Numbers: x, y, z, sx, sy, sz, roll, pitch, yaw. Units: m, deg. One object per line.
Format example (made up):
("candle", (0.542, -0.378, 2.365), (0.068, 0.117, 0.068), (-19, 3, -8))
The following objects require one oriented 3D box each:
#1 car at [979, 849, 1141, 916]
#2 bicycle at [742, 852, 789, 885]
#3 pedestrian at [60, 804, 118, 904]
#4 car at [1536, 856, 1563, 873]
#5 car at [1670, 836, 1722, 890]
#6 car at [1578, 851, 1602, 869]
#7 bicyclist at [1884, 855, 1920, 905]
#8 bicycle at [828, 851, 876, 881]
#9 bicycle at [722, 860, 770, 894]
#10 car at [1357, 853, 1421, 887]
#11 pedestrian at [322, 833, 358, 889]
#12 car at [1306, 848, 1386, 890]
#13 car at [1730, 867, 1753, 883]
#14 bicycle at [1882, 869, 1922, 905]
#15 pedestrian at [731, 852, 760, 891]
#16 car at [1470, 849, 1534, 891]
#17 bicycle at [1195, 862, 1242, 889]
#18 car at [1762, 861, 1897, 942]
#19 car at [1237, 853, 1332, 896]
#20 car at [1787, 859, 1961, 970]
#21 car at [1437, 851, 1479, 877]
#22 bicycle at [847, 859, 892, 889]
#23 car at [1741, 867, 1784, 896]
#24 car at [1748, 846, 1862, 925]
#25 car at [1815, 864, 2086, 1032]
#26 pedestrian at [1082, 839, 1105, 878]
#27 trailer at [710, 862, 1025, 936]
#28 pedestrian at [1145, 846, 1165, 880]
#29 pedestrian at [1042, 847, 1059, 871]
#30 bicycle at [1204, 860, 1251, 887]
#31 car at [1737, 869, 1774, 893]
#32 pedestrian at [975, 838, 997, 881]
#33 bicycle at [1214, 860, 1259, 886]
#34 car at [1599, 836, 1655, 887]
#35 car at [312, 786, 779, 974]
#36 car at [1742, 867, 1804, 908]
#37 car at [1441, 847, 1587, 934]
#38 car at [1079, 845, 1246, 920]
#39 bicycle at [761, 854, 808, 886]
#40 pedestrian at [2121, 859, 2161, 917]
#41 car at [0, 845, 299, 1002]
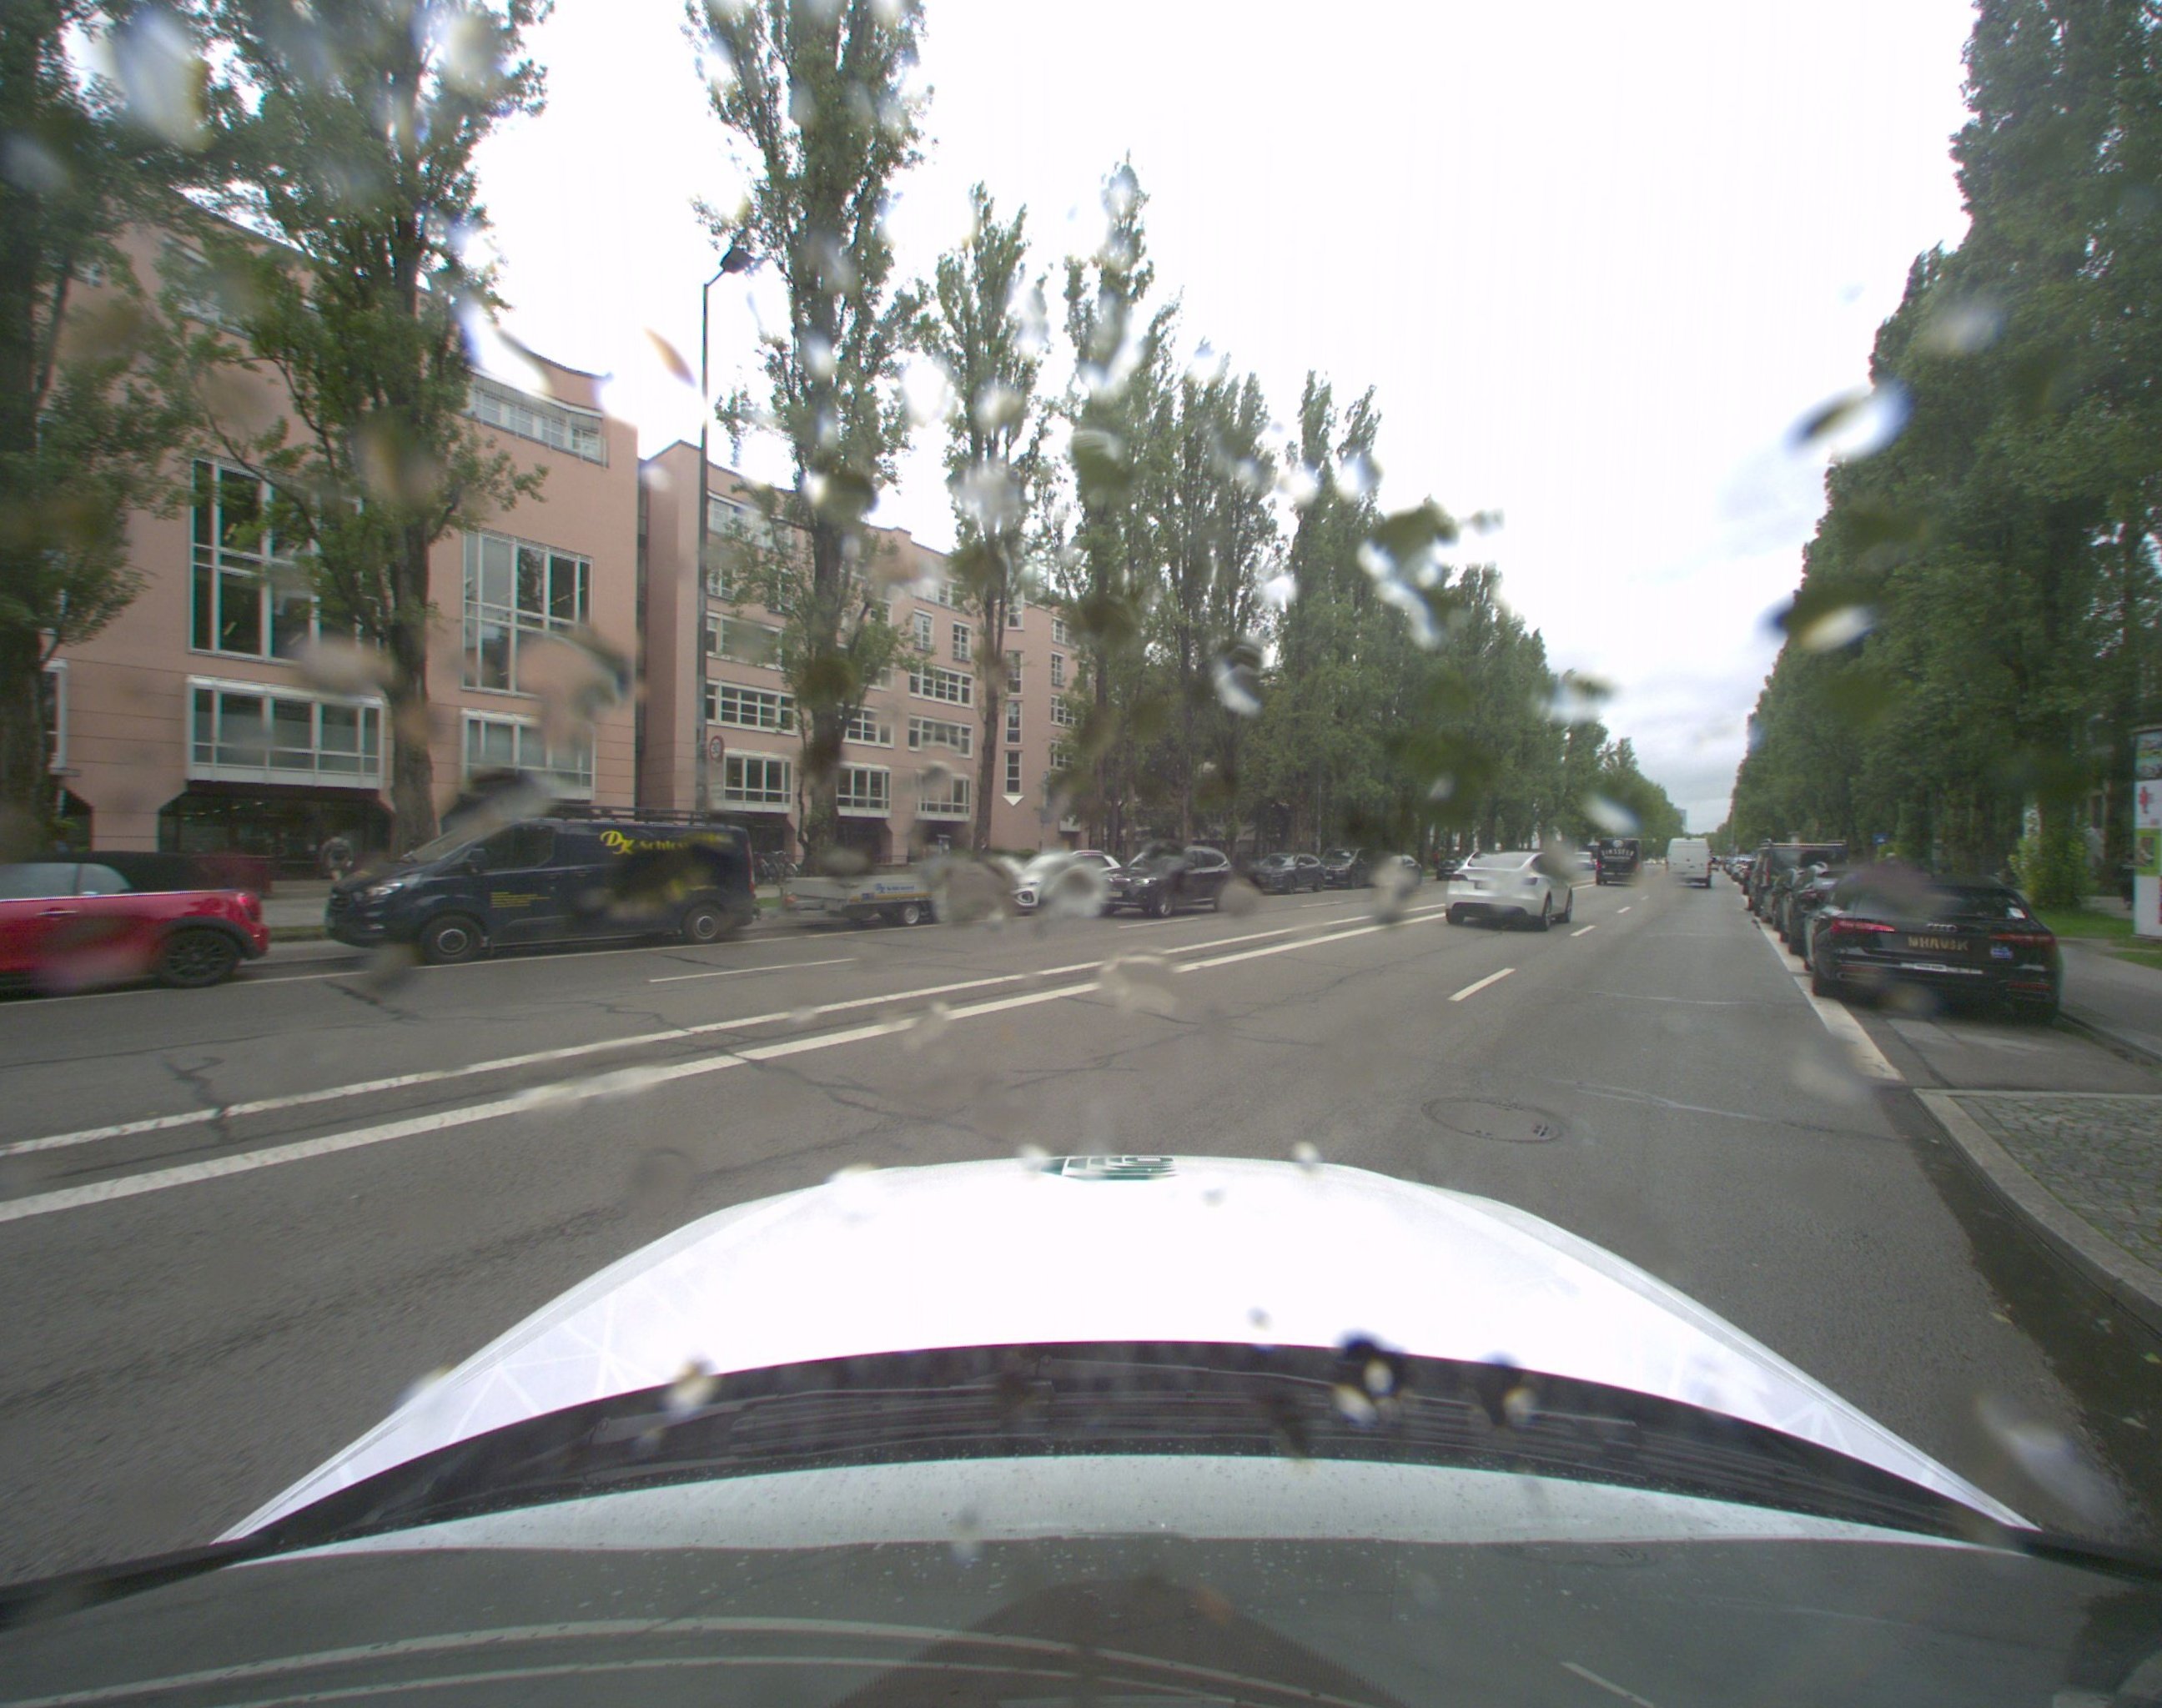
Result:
("car", (-0.436, 0.675, 20.832), (1.783, 1.542, 4.260), (-1, -1, 40))
("bicycle", (-11.302, 0.517, 29.159), (1.963, 1.124, 0.680), (1, 0, 39))
("pedestrian", (-16.960, 0.006, 13.933), (0.613, 1.663, 0.562), (1, 0, 42))
("car", (44.071, 0.969, 76.597), (1.744, 1.579, 3.483), (1, 0, 38))
("car", (33.703, 0.466, 44.569), (2.020, 2.651, 6.079), (3, 1, 38))
("car", (63.567, 0.711, 101.702), (1.974, 2.119, 5.032), (1, 1, 38))
("bicyclist", (27.058, 0.846, 26.864), (0.715, 1.619, 0.761), (-1, -1, 38))
("bicycle", (-8.944, 0.456, 31.770), (2.080, 1.124, 0.680), (1, 0, 39))
("bicycle", (-11.789, 0.788, 28.603), (1.963, 1.124, 0.680), (1, 0, 39))
("car", (15.904, 0.818, 41.881), (1.974, 1.606, 4.380), (1, 0, 36))
("pedestrian", (-23.039, 0.225, 25.330), (0.722, 1.713, 0.713), (1, -1, 41))
("car", (12.246, 0.664, 37.466), (1.974, 1.797, 4.791), (1, 0, 38))
("car", (70.794, 2.261, 87.356), (1.726, 1.643, 3.976), (3, 1, 37))
("bicycle", (27.080, 1.103, 26.875), (0.710, 1.148, 1.912), (-3, -4, 40))
("pedestrian", (-10.440, 0.548, 25.357), (0.707, 1.187, 0.729), (1, 0, -13))
("car", (18.461, 0.691, 35.583), (1.974, 1.716, 4.789), (-1, -1, 33))
("bicycle", (6.138, 0.933, 36.334), (1.963, 1.124, 0.680), (1, 0, 39))
("car", (16.668, 0.969, 18.325), (1.726, 1.527, 4.261), (3, 1, 36))
("car", (8.152, 0.785, 32.363), (1.974, 1.542, 4.351), (1, 0, 39))
("car", (13.167, 0.905, 13.750), (1.726, 1.527, 3.932), (3, 1, 39))
("car", (24.425, 0.614, 52.740), (1.924, 1.579, 3.633), (1, 1, 34))
("bicycle", (-8.438, 0.772, 32.464), (1.963, 1.124, 0.680), (1, 0, 39))
("car", (41.553, 1.636, 49.741), (1.726, 1.643, 3.976), (3, 1, 37))
("car", (20.286, 0.812, 23.027), (1.892, 1.924, 5.071), (3, 1, 37))
("car", (9.838, 0.896, 9.564), (1.734, 1.427, 4.475), (3, 1, 42))
("pedestrian", (0.571, 0.185, 36.474), (0.700, 1.713, 0.736), (1, -1, 39))
("trailer", (-4.125, 0.812, 16.920), (2.374, 1.199, 6.076), (1, 0, 39))
("pedestrian", (3.804, 0.442, 41.629), (0.700, 1.713, 0.736), (1, -1, 39))
("pedestrian", (-2.135, 0.336, 57.482), (0.807, 1.662, 0.903), (1, -1, 39))
("bicycle", (6.631, 0.869, 36.919), (1.963, 1.124, 0.680), (1, 0, 39))
("car", (46.486, 1.826, 56.183), (1.726, 1.546, 3.976), (3, 1, 37))
("pedestrian", (-3.662, 0.212, 31.334), (0.661, 1.604, 0.553), (1, 0, -32))
("bicycle", (7.158, 0.858, 37.542), (1.963, 1.124, 0.680), (1, 0, 39))
("car", (29.754, 0.399, 44.296), (2.056, 2.555, 5.969), (3, 1, 38))
("car", (-7.663, 0.317, 12.330), (1.998, 2.197, 5.531), (1, 0, 38))
("car", (30.038, 1.392, 35.442), (1.726, 1.591, 3.976), (3, 1, 37))
("car", (9.570, 0.708, 17.796), (1.975, 1.575, 4.667), (3, 1, 38))
("car", (2.153, 0.632, 20.263), (1.974, 1.642, 4.579), (0, -1, 38))
("bicycle", (-10.849, 0.571, 29.775), (1.963, 1.124, 0.680), (1, 0, 39))
("pedestrian", (32.927, 1.045, 25.094), (0.900, 1.752, 0.866), (1, -1, 39))
("car", (-10.659, 0.641, 8.174), (1.657, 1.448, 3.897), (1, 0, 41))
